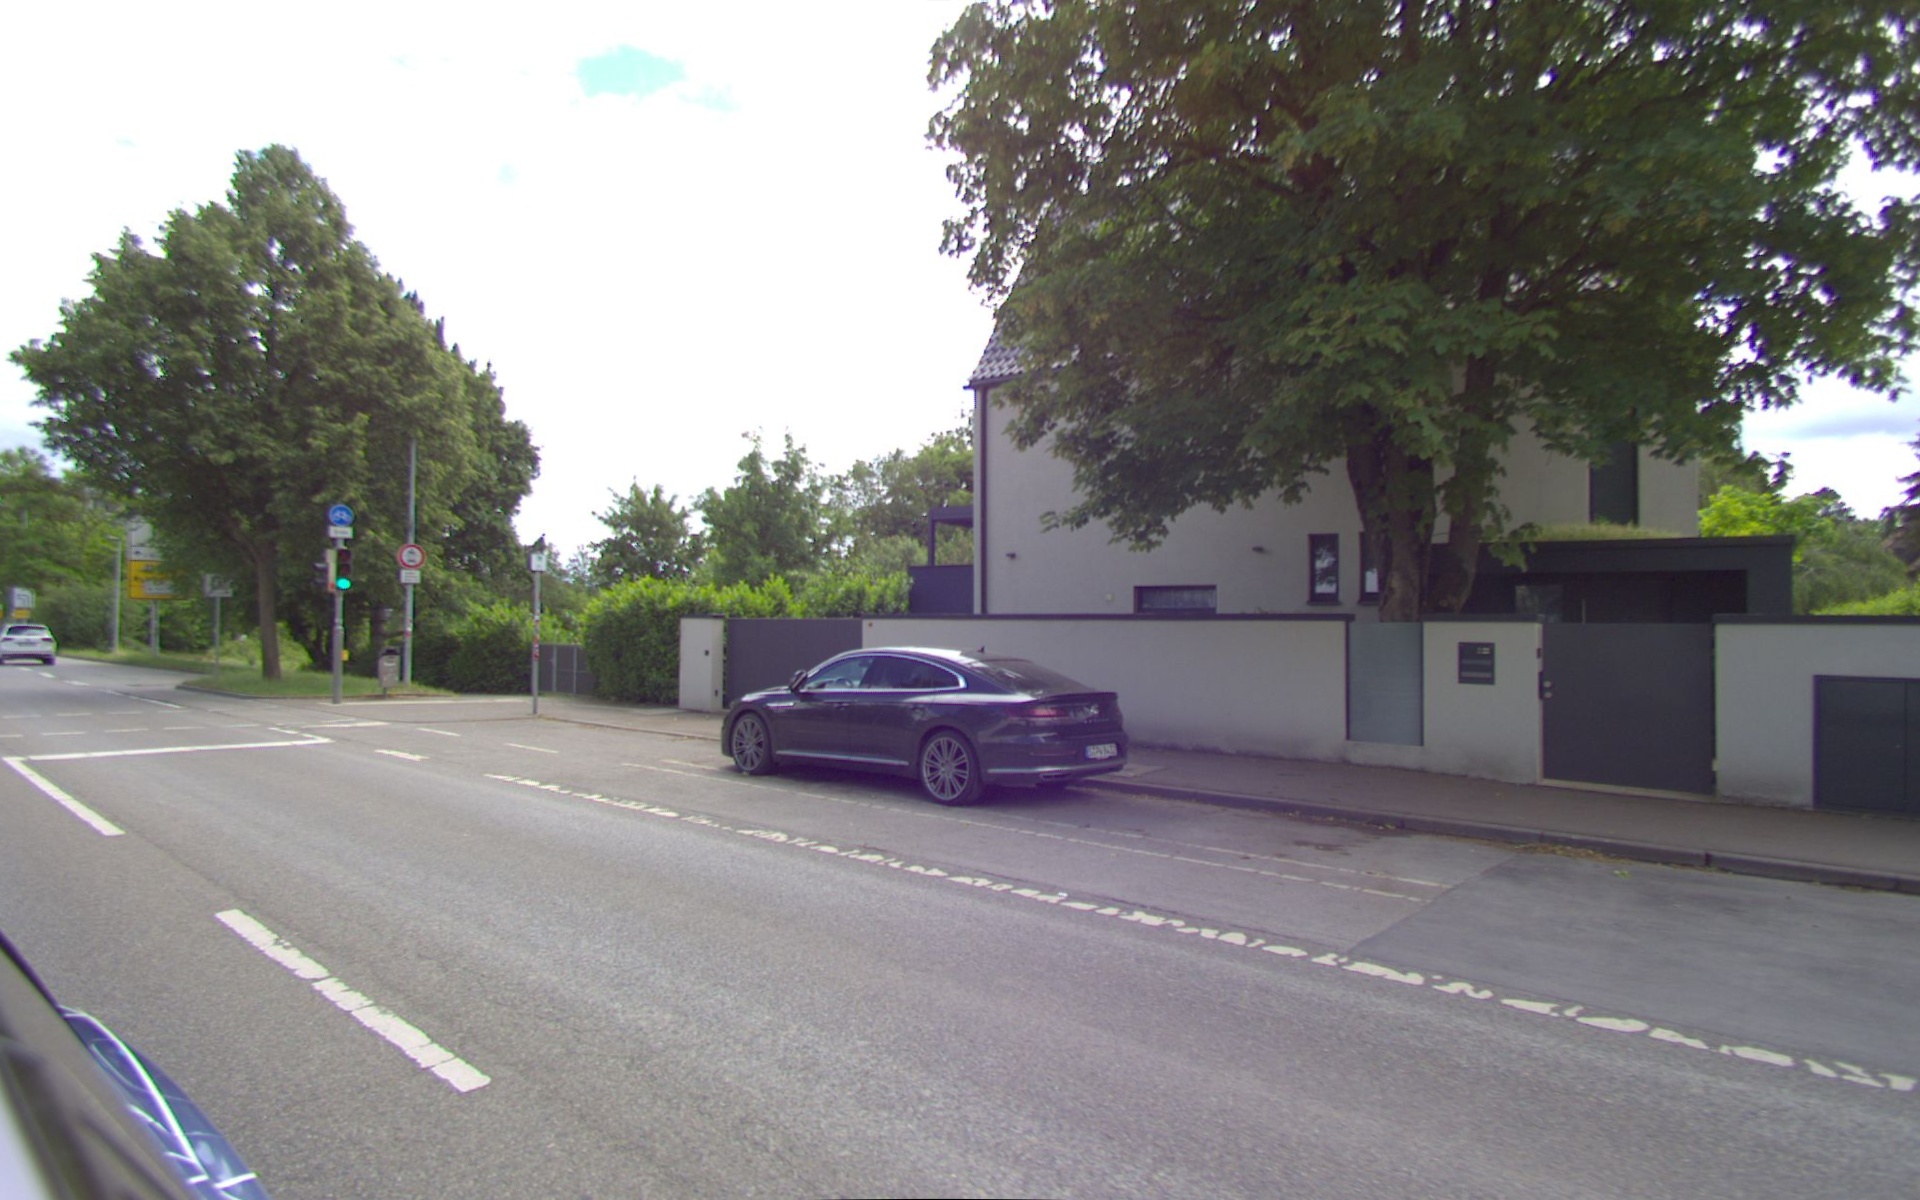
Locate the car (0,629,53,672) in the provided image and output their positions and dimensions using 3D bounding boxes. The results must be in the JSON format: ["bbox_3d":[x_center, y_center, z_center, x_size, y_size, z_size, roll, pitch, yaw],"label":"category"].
[{"bbox_3d":[-38.511,2.034,41.289,3.998,1.644,1.763,-2,-3,42],"label":"car"}]

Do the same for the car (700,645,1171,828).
[{"bbox_3d":[-0.461,1.210,10.350,4.924,1.419,1.728,-2,-4,41],"label":"car"}]
